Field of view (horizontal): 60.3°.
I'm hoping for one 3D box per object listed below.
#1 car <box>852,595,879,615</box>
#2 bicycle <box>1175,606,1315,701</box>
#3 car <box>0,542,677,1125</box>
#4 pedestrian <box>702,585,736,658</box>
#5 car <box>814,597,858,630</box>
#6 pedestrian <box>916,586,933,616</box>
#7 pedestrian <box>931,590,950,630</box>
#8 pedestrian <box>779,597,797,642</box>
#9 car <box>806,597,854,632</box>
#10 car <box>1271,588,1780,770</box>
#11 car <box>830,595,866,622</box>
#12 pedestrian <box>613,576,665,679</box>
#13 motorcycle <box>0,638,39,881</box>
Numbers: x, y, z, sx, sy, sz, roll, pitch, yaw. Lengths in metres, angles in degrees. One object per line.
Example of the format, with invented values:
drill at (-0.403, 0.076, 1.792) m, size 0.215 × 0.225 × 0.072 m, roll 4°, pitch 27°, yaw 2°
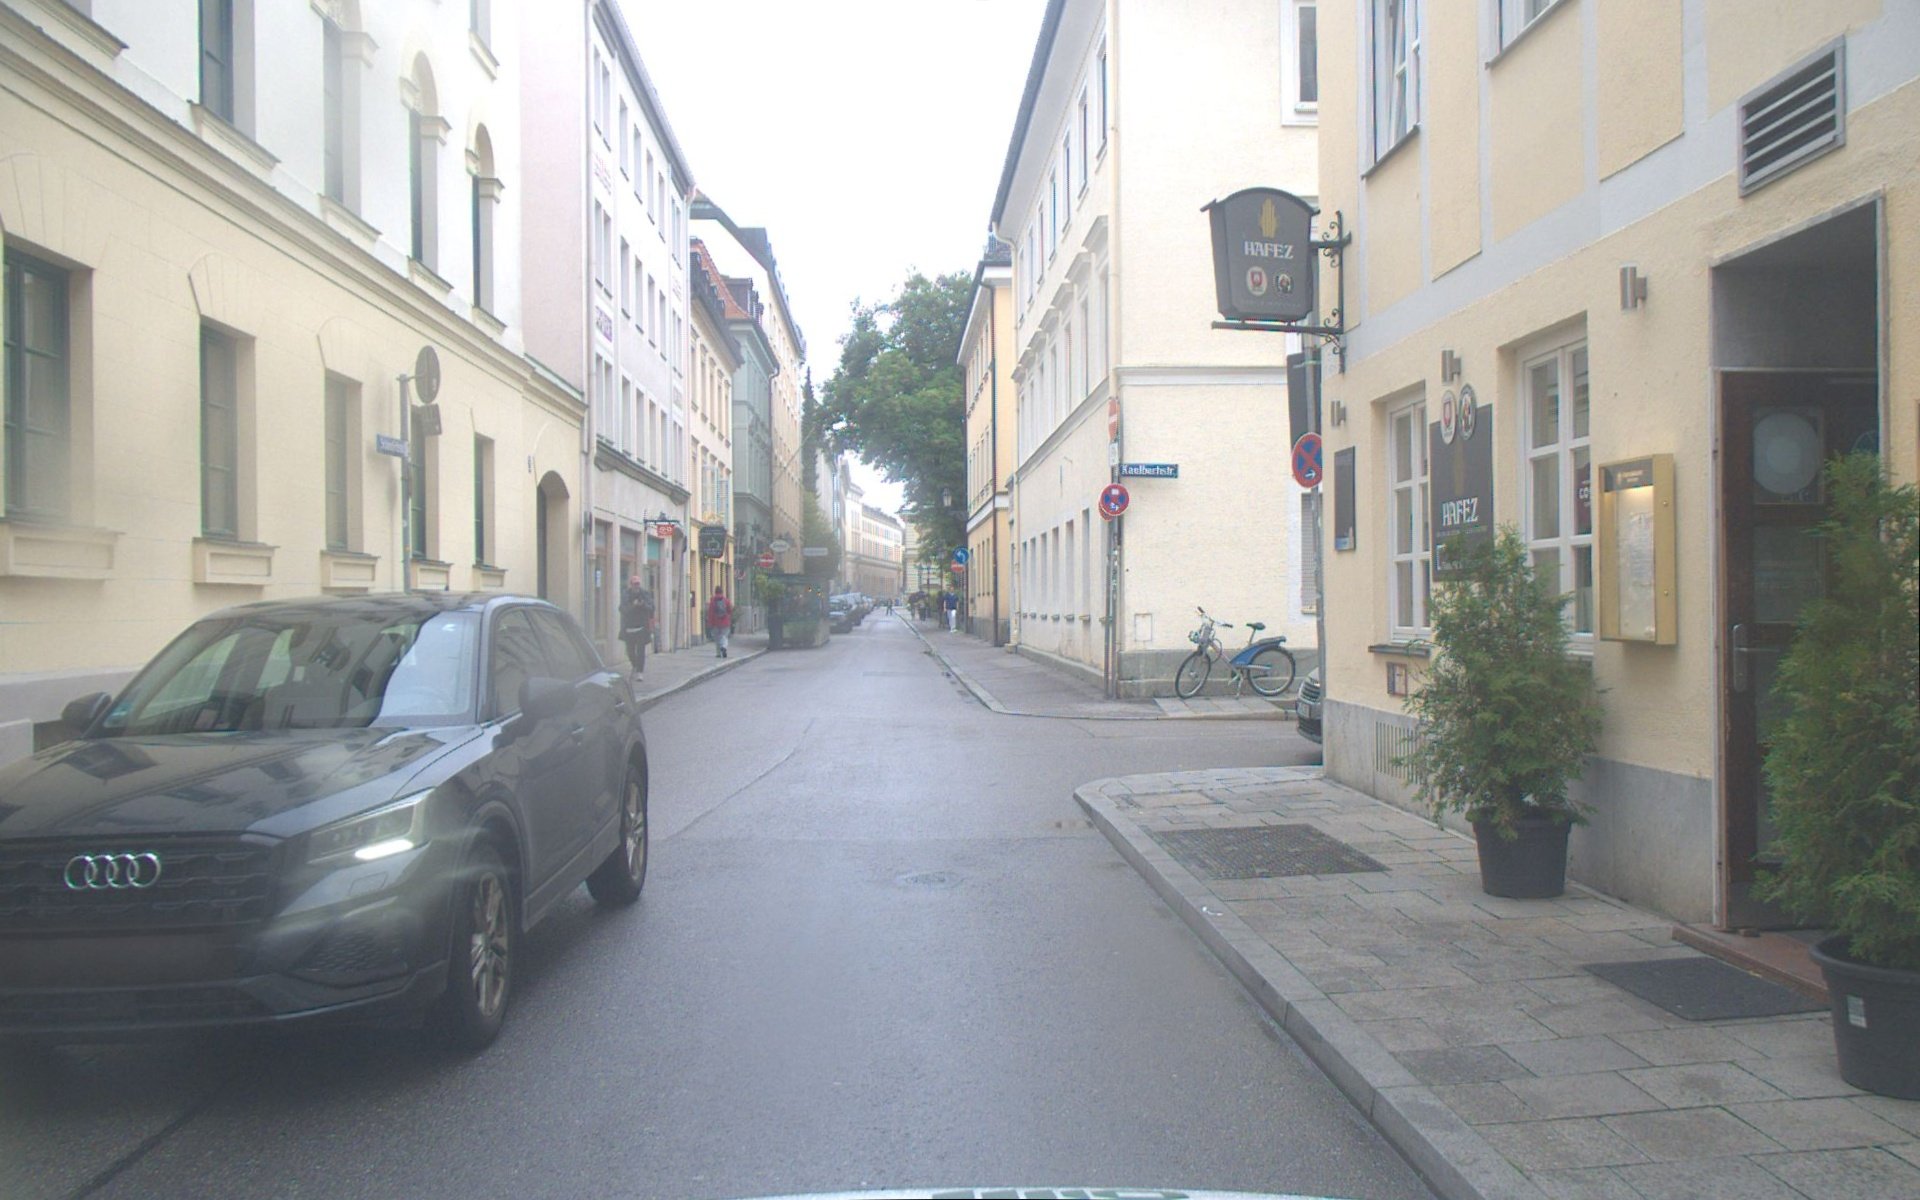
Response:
car at (-6.850, 0.353, 120.643) m, size 1.743 × 1.492 × 3.542 m, roll 0°, pitch 0°, yaw 0°
bicycle at (3.757, 0.696, 21.861) m, size 1.722 × 1.164 × 0.586 m, roll -1°, pitch 3°, yaw -3°
car at (-2.368, 0.648, 6.646) m, size 1.775 × 1.621 × 4.000 m, roll -1°, pitch 0°, yaw 0°
pedestrian at (-5.865, 0.520, 40.281) m, size 0.751 × 1.738 × 0.784 m, roll -1°, pitch 0°, yaw -5°
car at (-5.687, 0.595, 75.982) m, size 1.743 × 1.492 × 3.542 m, roll 0°, pitch 0°, yaw 0°
pedestrian at (-2.217, 0.075, 103.326) m, size 0.995 × 1.833 × 1.348 m, roll 0°, pitch 0°, yaw -2°
pedestrian at (-0.896, 0.448, 77.210) m, size 0.862 × 1.833 × 1.046 m, roll 0°, pitch 0°, yaw -2°
pedestrian at (-5.173, 0.589, 49.801) m, size 0.499 × 1.350 × 0.630 m, roll 0°, pitch 0°, yaw -5°
car at (-5.594, 0.602, 71.389) m, size 1.743 × 1.492 × 3.663 m, roll 0°, pitch 0°, yaw 0°
car at (4.914, 0.663, 14.769) m, size 3.933 × 1.466 × 1.765 m, roll 0°, pitch 2°, yaw -1°
car at (-6.128, 0.455, 90.928) m, size 1.743 × 1.492 × 3.542 m, roll 0°, pitch 0°, yaw 0°
pedestrian at (-5.693, 0.474, 29.387) m, size 0.793 × 1.786 × 0.989 m, roll 0°, pitch 1°, yaw -5°
motorcycle at (-5.049, 0.800, 7.722) m, size 0.590 × 1.194 × 1.708 m, roll 0°, pitch 0°, yaw -2°
